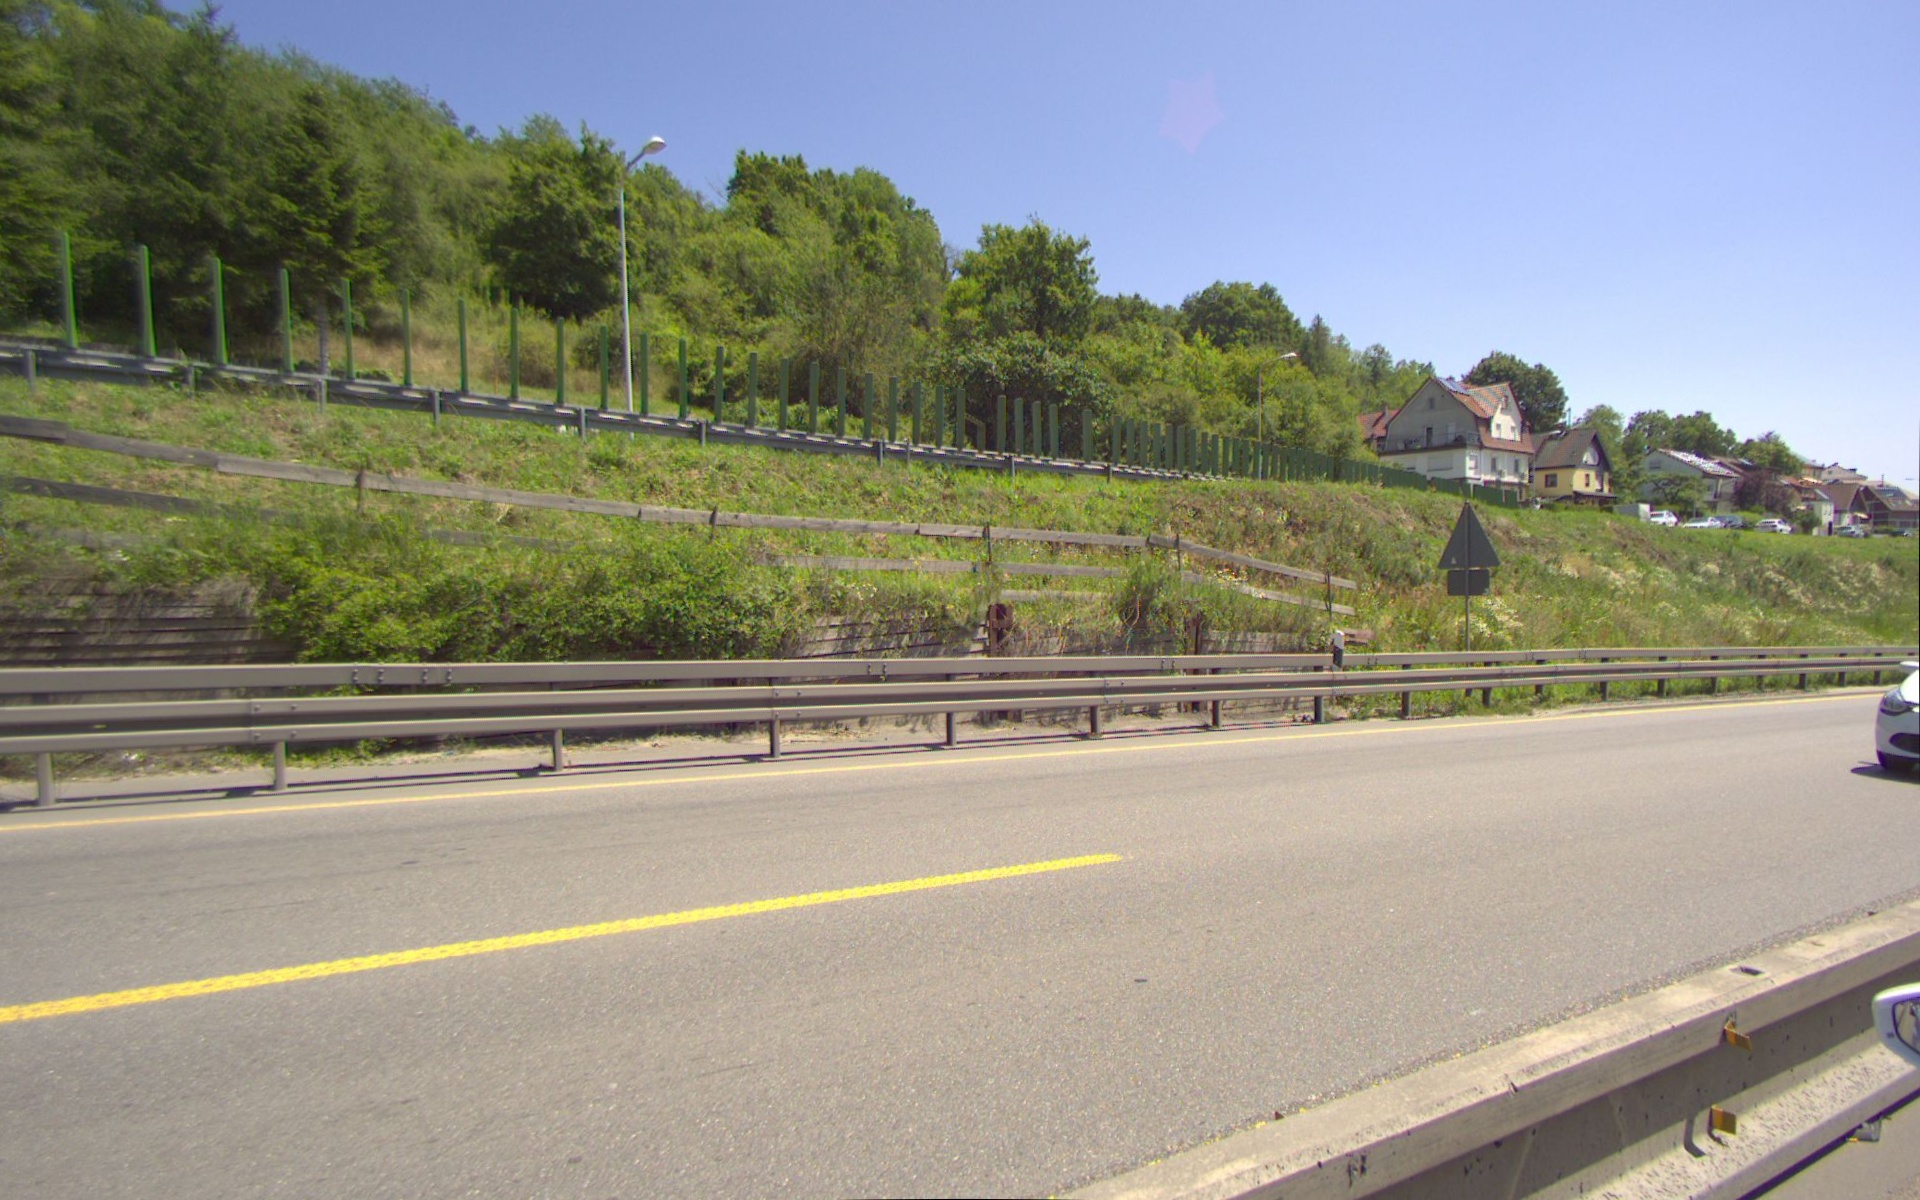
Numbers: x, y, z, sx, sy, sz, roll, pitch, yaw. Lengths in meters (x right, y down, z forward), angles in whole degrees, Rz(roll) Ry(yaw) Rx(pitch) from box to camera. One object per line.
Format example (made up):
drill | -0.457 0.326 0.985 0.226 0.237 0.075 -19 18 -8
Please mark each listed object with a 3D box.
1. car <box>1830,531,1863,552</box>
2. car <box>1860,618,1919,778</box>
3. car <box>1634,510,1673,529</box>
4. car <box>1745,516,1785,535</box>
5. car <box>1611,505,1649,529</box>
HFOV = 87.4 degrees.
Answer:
car | 87.395 -5.760 98.987 3.968 1.751 1.909 1 0 -41
car | 10.858 0.969 10.129 3.708 1.506 1.682 1 0 -32
car | 49.487 -5.739 71.652 3.243 1.052 1.271 1 0 -36
car | 70.971 -6.587 88.515 3.969 1.337 1.976 1 4 -41
car | 45.961 -5.670 68.896 1.707 1.417 3.783 4 2 40
